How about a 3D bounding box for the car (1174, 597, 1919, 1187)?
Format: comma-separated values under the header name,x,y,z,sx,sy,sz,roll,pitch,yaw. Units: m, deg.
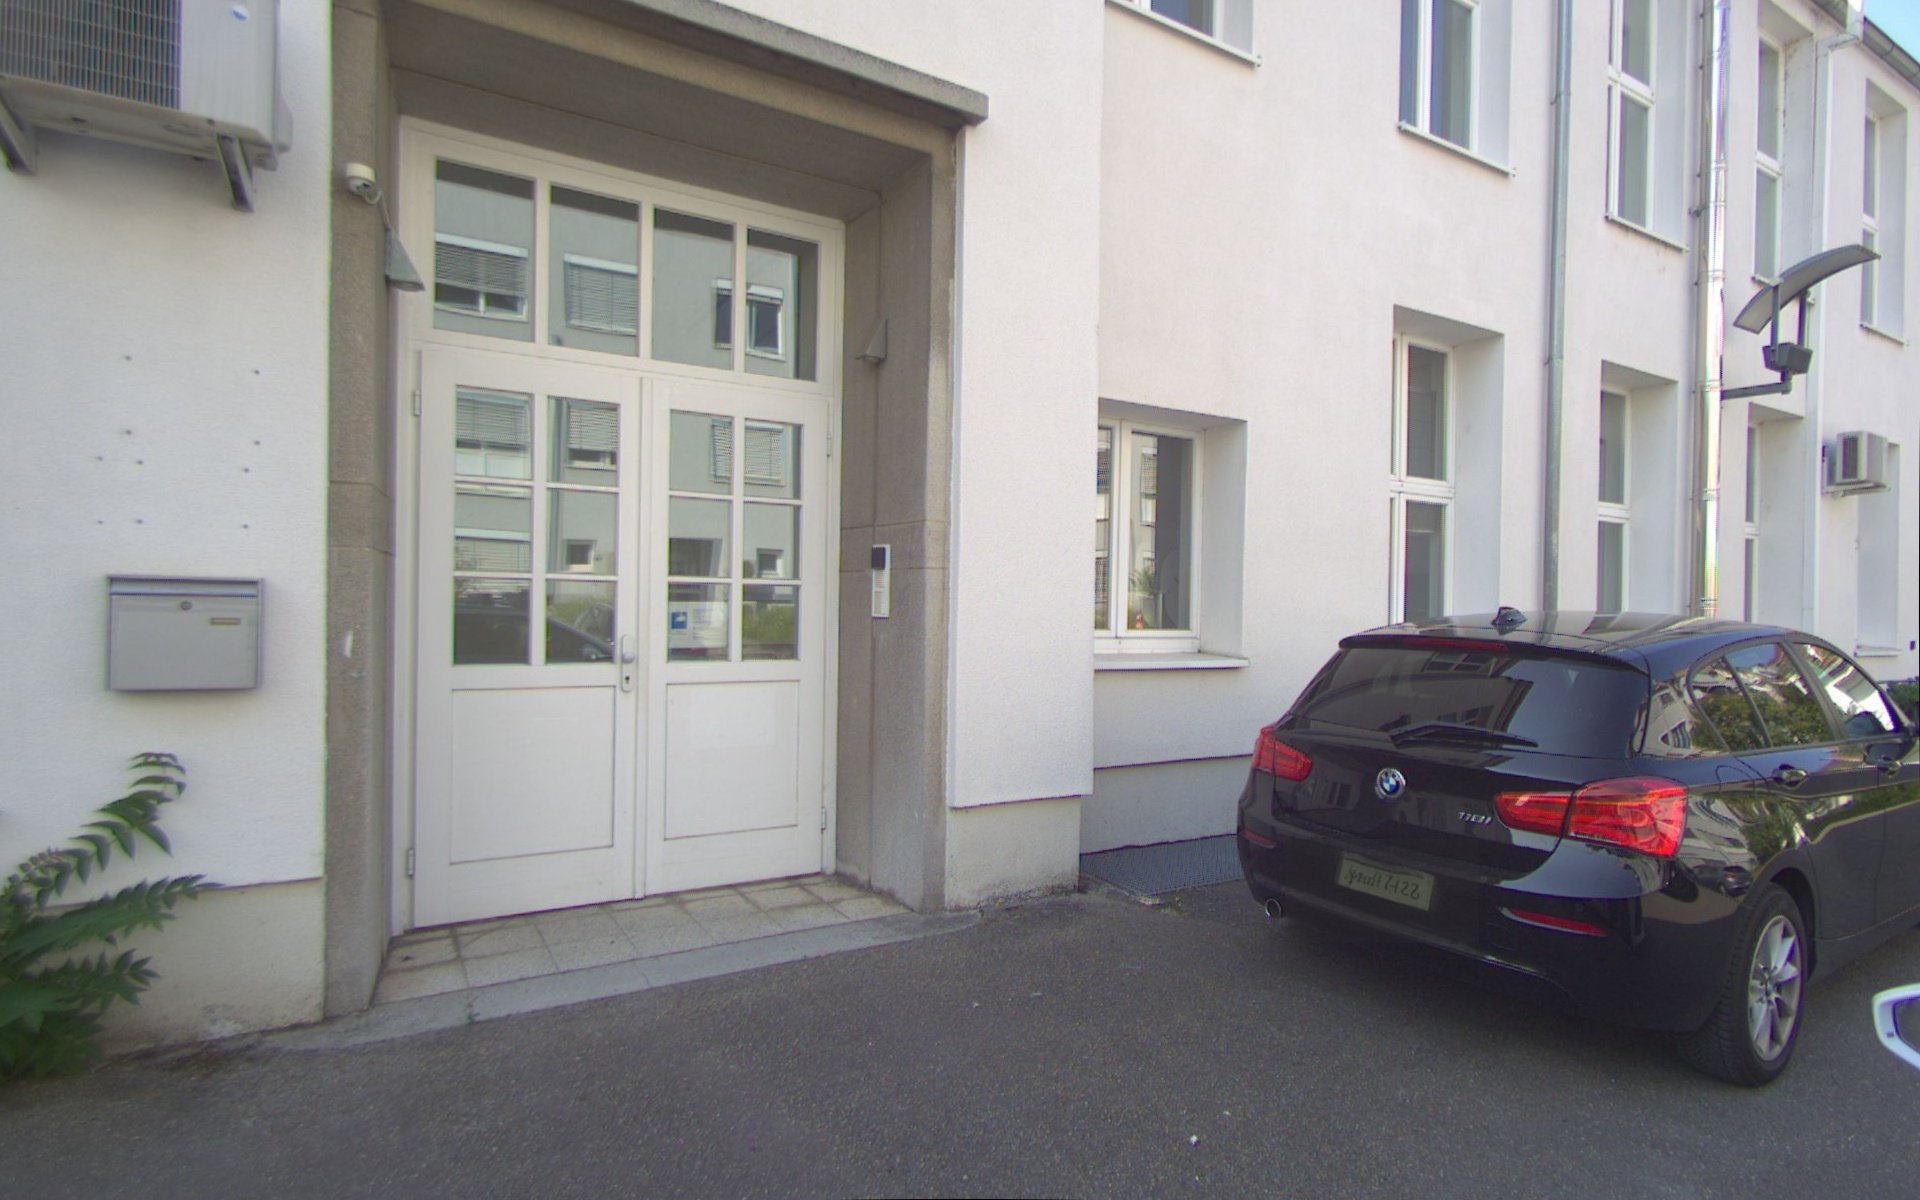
name,x,y,z,sx,sy,sz,roll,pitch,yaw
car,2.931,0.787,4.312,3.881,1.478,1.678,2,0,-33
